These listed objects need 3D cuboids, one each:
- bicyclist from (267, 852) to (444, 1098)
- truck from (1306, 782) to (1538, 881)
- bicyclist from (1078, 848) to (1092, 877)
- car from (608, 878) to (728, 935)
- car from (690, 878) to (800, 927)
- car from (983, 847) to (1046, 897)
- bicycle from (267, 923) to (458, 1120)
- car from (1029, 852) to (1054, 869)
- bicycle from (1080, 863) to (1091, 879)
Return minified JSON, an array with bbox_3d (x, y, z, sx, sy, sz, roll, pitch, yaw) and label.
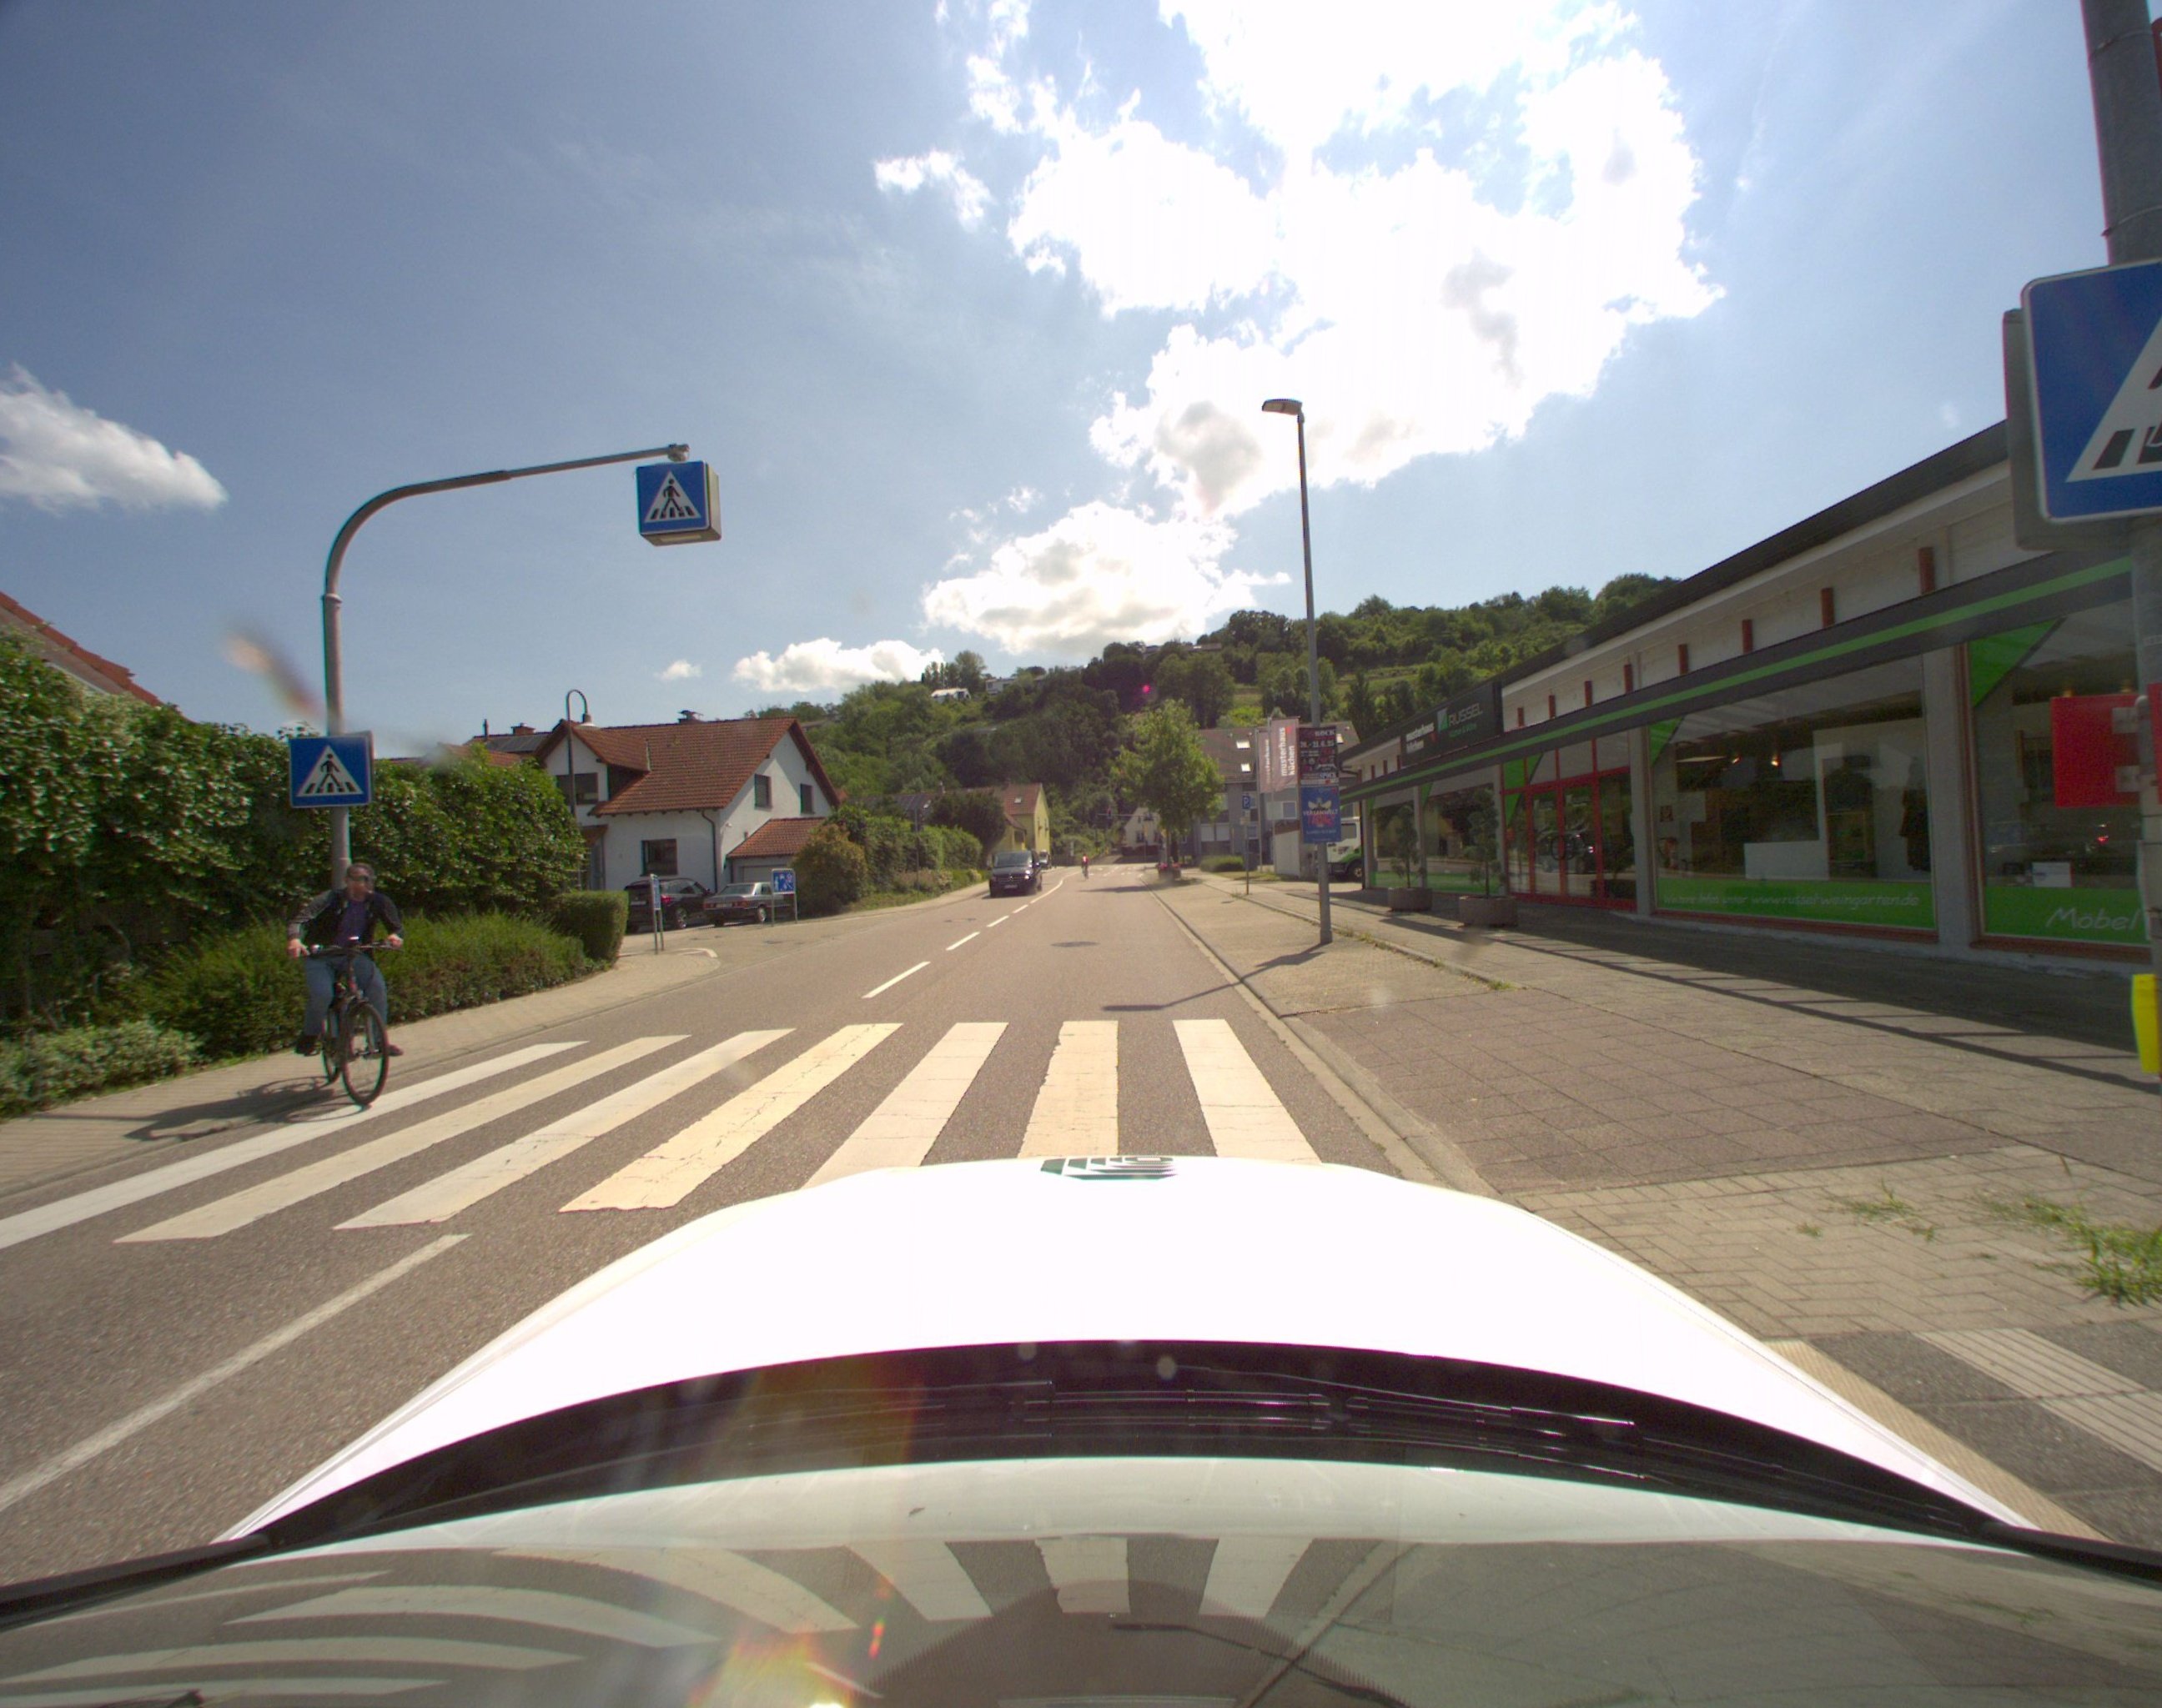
[{"bbox_3d":[-5.498,0.840,6.162,1.097,1.630,0.811,-4,-1,41],"label":"bicyclist"},{"bbox_3d":[13.581,-0.835,32.915,8.140,3.573,2.679,-2,-1,1],"label":"truck"},{"bbox_3d":[0.249,0.514,47.400,0.758,1.664,0.868,-1,0,-1],"label":"bicyclist"},{"bbox_3d":[-13.614,1.677,27.135,1.759,1.550,4.002,-4,0,2],"label":"car"},{"bbox_3d":[-11.137,1.574,27.333,1.653,1.285,4.006,-5,0,5],"label":"car"},{"bbox_3d":[-2.744,0.724,34.733,1.986,1.852,5.072,-4,0,2],"label":"car"},{"bbox_3d":[-5.484,1.157,6.174,1.918,1.165,0.811,-4,0,41],"label":"bicycle"},{"bbox_3d":[-4.164,0.665,86.088,1.984,1.635,4.636,-1,0,4],"label":"car"},{"bbox_3d":[0.254,0.989,47.440,0.628,0.905,1.657,-1,0,0],"label":"bicycle"}]
